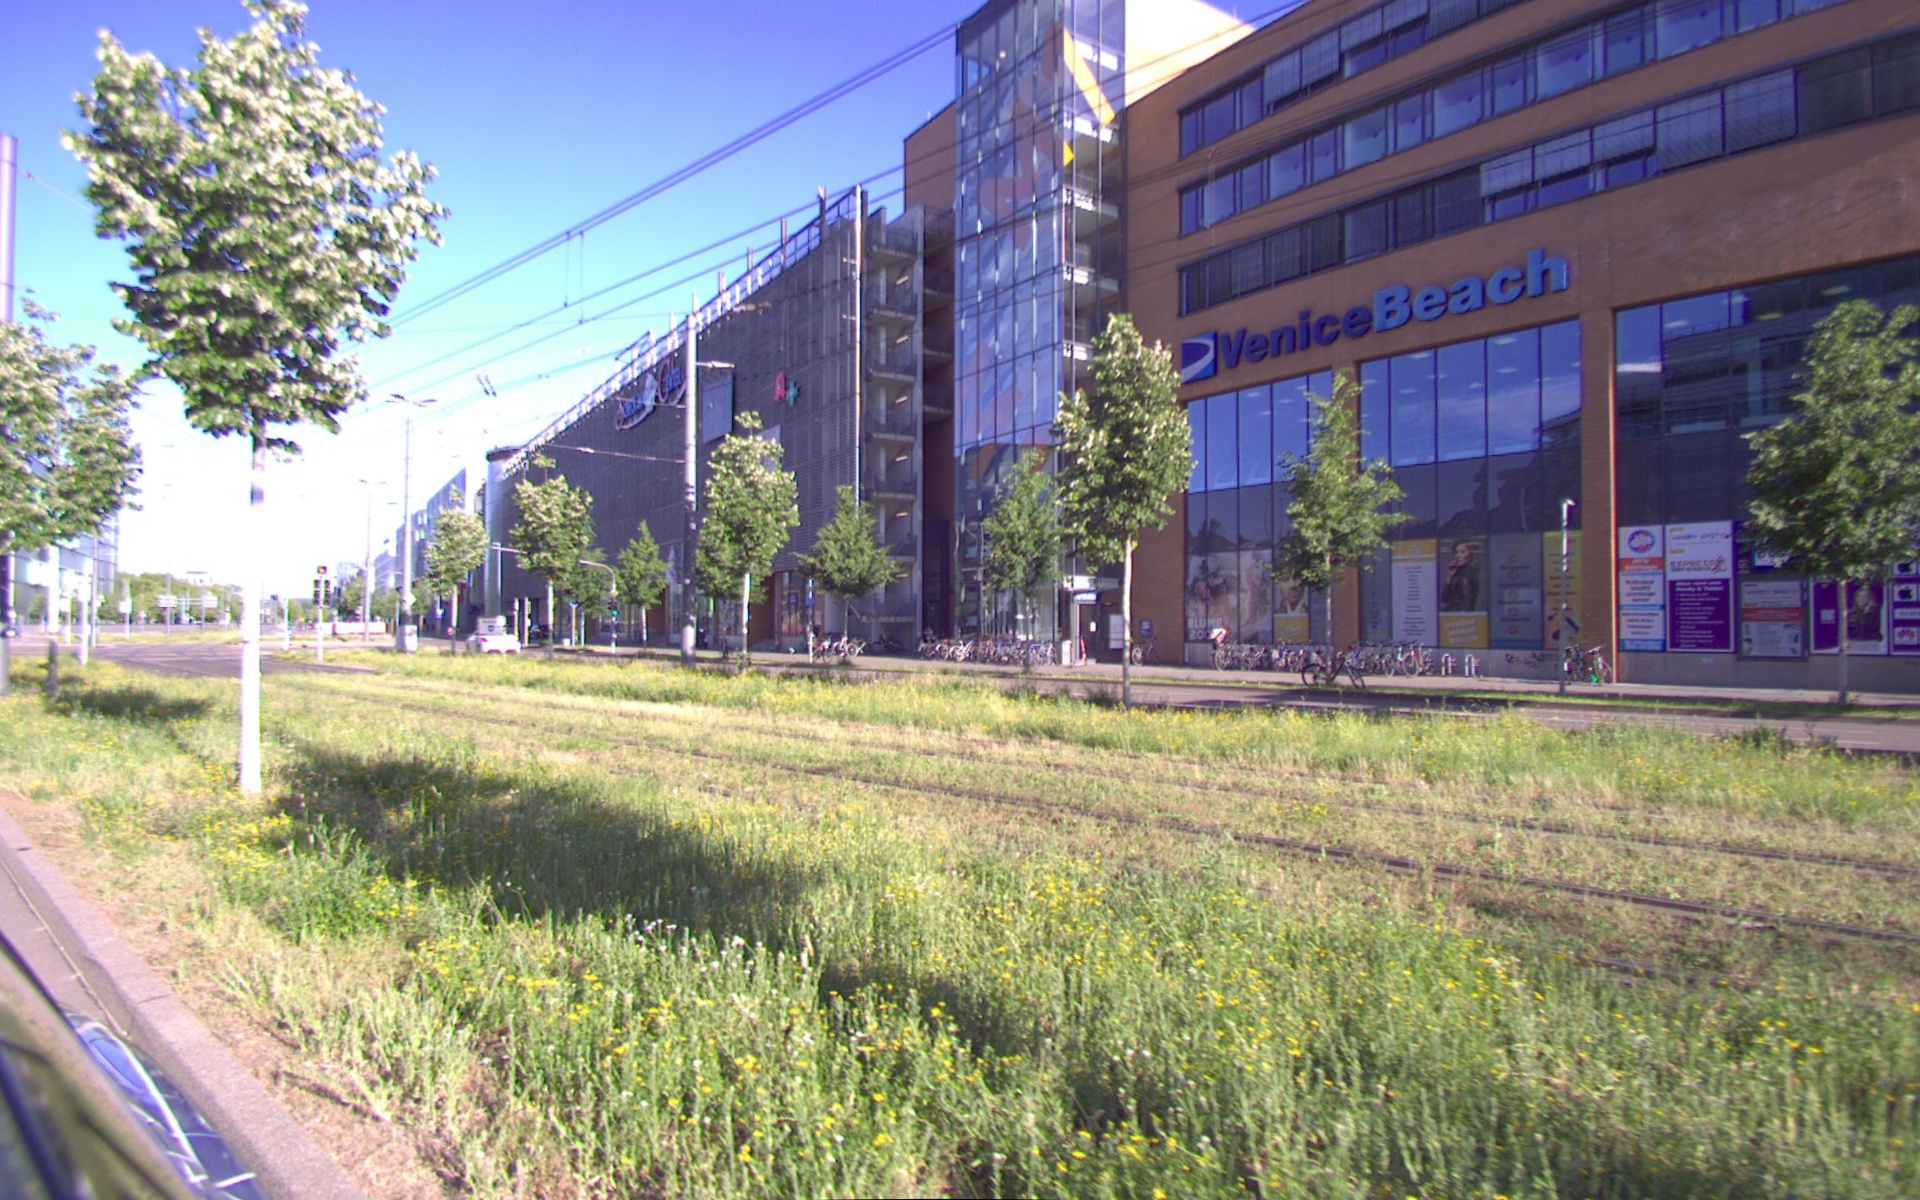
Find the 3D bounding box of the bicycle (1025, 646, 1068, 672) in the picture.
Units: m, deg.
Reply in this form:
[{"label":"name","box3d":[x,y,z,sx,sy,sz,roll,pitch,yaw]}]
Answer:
[{"label":"bicycle","box3d":[3.375,2.293,39.418,1.742,0.933,0.566,1,-2,-35]}]

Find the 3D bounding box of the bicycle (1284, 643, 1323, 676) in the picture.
[{"label":"bicycle","box3d":[11.683,2.013,34.395,1.745,1.057,0.491,1,-2,-44]}]

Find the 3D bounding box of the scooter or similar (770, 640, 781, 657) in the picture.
[{"label":"scooter or similar","box3d":[-10.545,2.764,57.771,0.286,0.900,0.903,1,-2,-34]}]

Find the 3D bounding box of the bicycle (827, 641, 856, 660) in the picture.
[{"label":"bicycle","box3d":[-5.953,2.545,50.746,1.377,0.933,0.463,1,-2,-35]}]

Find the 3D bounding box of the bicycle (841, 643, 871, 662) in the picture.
[{"label":"bicycle","box3d":[-5.092,2.561,49.577,1.377,0.933,0.463,1,-2,-35]}]

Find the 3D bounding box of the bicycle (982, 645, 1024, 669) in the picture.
[{"label":"bicycle","box3d":[1.774,2.335,41.768,1.742,0.933,0.566,1,-2,-35]}]

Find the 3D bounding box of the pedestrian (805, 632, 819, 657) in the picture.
[{"label":"pedestrian","box3d":[-7.759,2.340,53.044,0.442,1.299,0.631,1,-2,-38]}]

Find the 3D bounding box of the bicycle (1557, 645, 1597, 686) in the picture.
[{"label":"bicycle","box3d":[17.052,1.785,27.935,1.745,1.057,0.491,1,-2,-44]}]

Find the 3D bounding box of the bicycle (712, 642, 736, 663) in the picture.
[{"label":"bicycle","box3d":[-10.985,2.420,46.996,0.380,0.930,1.775,1,-2,-38]}]

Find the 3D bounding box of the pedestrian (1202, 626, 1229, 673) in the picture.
[{"label":"pedestrian","box3d":[9.304,1.799,36.850,0.736,1.681,0.676,1,-2,-45]}]

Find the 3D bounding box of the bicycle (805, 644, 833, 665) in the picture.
[{"label":"bicycle","box3d":[-6.222,2.375,44.518,0.380,0.875,1.775,1,-2,-38]}]

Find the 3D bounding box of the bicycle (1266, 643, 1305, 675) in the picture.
[{"label":"bicycle","box3d":[11.240,2.023,34.907,1.745,1.057,0.491,1,-2,-44]}]

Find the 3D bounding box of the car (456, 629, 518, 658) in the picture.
[{"label":"car","box3d":[-23.033,2.083,49.219,1.783,1.338,4.414,2,-2,-38]}]

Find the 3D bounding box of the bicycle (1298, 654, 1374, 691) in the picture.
[{"label":"bicycle","box3d":[9.594,1.828,25.855,1.770,0.875,0.458,-1,-2,40]}]

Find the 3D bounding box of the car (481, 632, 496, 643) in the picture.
[{"label":"car","box3d":[-58.625,4.656,125.859,1.663,1.382,3.602,0,-2,-26]}]

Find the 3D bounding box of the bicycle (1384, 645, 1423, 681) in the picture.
[{"label":"bicycle","box3d":[13.887,1.959,31.672,1.745,1.057,0.491,1,-2,-44]}]

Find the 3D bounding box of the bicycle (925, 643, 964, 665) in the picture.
[{"label":"bicycle","box3d":[-0.677,2.376,45.023,1.742,0.933,0.566,1,-2,-35]}]

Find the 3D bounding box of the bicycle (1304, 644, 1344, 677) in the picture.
[{"label":"bicycle","box3d":[12.147,2.001,33.742,1.745,1.057,0.491,1,-2,-44]}]

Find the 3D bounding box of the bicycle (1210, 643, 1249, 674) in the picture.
[{"label":"bicycle","box3d":[9.692,2.102,36.343,1.745,1.057,0.491,1,-2,-44]}]

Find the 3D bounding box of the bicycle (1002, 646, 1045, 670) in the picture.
[{"label":"bicycle","box3d":[2.555,2.314,40.599,1.742,0.933,0.566,1,-2,-35]}]

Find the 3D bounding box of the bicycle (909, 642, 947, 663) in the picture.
[{"label":"bicycle","box3d":[-1.457,2.385,46.101,1.742,0.933,0.492,1,-2,-35]}]

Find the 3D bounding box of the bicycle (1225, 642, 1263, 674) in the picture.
[{"label":"bicycle","box3d":[10.099,2.049,35.948,1.745,1.057,0.491,1,-2,-44]}]

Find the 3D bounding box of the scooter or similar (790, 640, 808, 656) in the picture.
[{"label":"scooter or similar","box3d":[-8.659,2.577,54.399,0.889,0.900,0.290,0,-2,3]}]

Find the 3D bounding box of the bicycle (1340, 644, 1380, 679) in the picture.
[{"label":"bicycle","box3d":[12.932,1.981,32.713,1.745,1.057,0.491,1,-2,-44]}]

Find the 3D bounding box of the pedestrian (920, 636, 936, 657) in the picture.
[{"label":"pedestrian","box3d":[-1.618,2.331,51.061,0.620,1.063,0.450,1,-2,-38]}]

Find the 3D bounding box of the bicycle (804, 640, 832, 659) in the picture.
[{"label":"bicycle","box3d":[-7.222,2.519,51.450,1.377,0.933,0.463,1,-2,-35]}]

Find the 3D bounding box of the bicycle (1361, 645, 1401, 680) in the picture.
[{"label":"bicycle","box3d":[13.415,1.971,32.249,1.745,1.057,0.491,1,-2,-44]}]

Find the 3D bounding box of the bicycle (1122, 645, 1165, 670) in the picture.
[{"label":"bicycle","box3d":[7.182,2.223,39.586,1.742,0.933,0.566,1,-2,-35]}]

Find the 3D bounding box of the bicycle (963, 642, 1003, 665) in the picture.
[{"label":"bicycle","box3d":[0.983,2.262,42.950,1.742,0.933,0.492,1,-2,-35]}]

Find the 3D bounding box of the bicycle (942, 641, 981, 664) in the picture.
[{"label":"bicycle","box3d":[0.083,2.271,44.069,1.742,0.933,0.492,1,-2,-35]}]

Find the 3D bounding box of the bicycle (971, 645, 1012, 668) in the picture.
[{"label":"bicycle","box3d":[1.316,2.346,42.376,1.742,0.933,0.566,1,-2,-35]}]

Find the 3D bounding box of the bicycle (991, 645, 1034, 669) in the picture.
[{"label":"bicycle","box3d":[2.136,2.325,41.174,1.742,0.933,0.566,1,-2,-35]}]

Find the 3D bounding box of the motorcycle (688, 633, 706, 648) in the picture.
[{"label":"motorcycle","box3d":[-16.975,2.625,65.339,0.421,0.927,2.029,1,-2,-35]}]

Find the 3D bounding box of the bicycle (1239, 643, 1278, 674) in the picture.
[{"label":"bicycle","box3d":[10.499,2.040,35.551,1.745,1.057,0.491,1,-2,-44]}]

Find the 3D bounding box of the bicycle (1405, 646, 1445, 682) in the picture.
[{"label":"bicycle","box3d":[14.352,1.949,31.197,1.745,1.057,0.491,1,-2,-44]}]

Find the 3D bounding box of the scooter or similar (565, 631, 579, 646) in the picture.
[{"label":"scooter or similar","box3d":[-28.300,2.798,73.827,1.363,1.050,0.430,-1,-1,44]}]

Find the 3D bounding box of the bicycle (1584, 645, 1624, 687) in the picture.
[{"label":"bicycle","box3d":[17.521,1.774,27.503,1.745,1.057,0.491,1,-2,-44]}]

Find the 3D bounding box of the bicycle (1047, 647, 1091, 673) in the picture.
[{"label":"bicycle","box3d":[4.166,2.275,38.643,1.742,0.933,0.566,1,-2,-35]}]

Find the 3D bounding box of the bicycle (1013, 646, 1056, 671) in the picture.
[{"label":"bicycle","box3d":[2.959,2.304,40.031,1.742,0.933,0.566,1,-2,-35]}]

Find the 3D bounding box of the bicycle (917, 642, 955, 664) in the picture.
[{"label":"bicycle","box3d":[-1.066,2.386,45.586,1.742,0.933,0.492,1,-2,-35]}]

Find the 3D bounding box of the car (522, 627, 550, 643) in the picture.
[{"label":"car","box3d":[-42.083,3.441,100.472,1.560,1.541,3.758,-1,-1,-39]}]
